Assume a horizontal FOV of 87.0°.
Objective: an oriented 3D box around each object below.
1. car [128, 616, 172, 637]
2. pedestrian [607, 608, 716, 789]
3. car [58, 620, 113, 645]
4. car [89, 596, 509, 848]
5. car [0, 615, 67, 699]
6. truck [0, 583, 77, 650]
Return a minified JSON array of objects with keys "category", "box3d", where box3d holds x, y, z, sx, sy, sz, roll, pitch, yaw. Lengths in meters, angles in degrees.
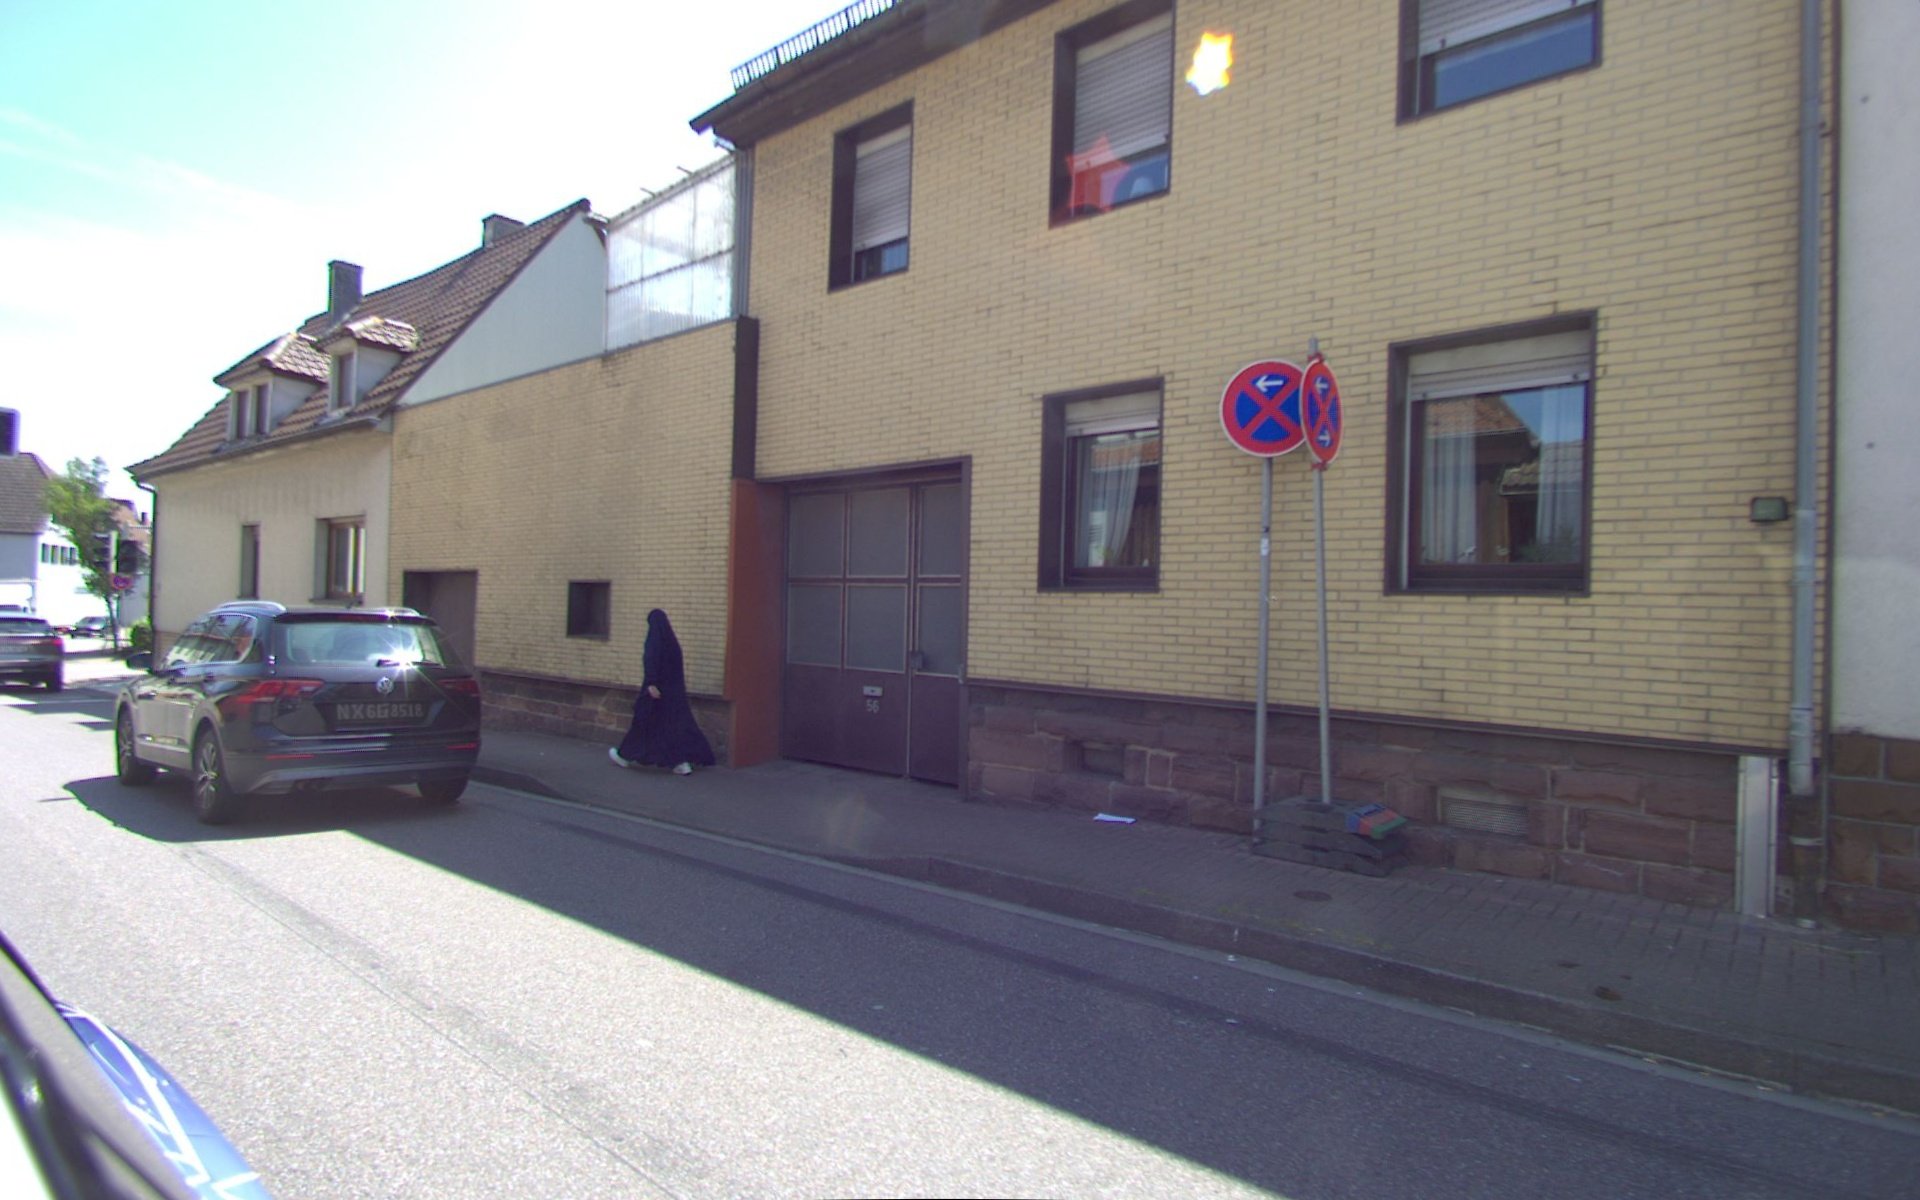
[{"category":"car","box3d":[-65.225,2.122,81.522,1.965,1.630,4.013,0,-1,-27]},{"category":"pedestrian","box3d":[-2.823,0.887,9.572,0.755,1.576,0.654,4,3,42]},{"category":"car","box3d":[-58.188,2.133,67.385,1.837,1.541,4.013,0,-1,-27]},{"category":"car","box3d":[-5.782,0.863,8.638,4.334,1.621,1.793,-1,-4,41]},{"category":"car","box3d":[-20.175,1.131,21.027,4.258,1.634,1.810,-1,-3,41]},{"category":"truck","box3d":[-53.102,0.887,57.197,2.820,3.539,8.346,4,-2,-28]}]
